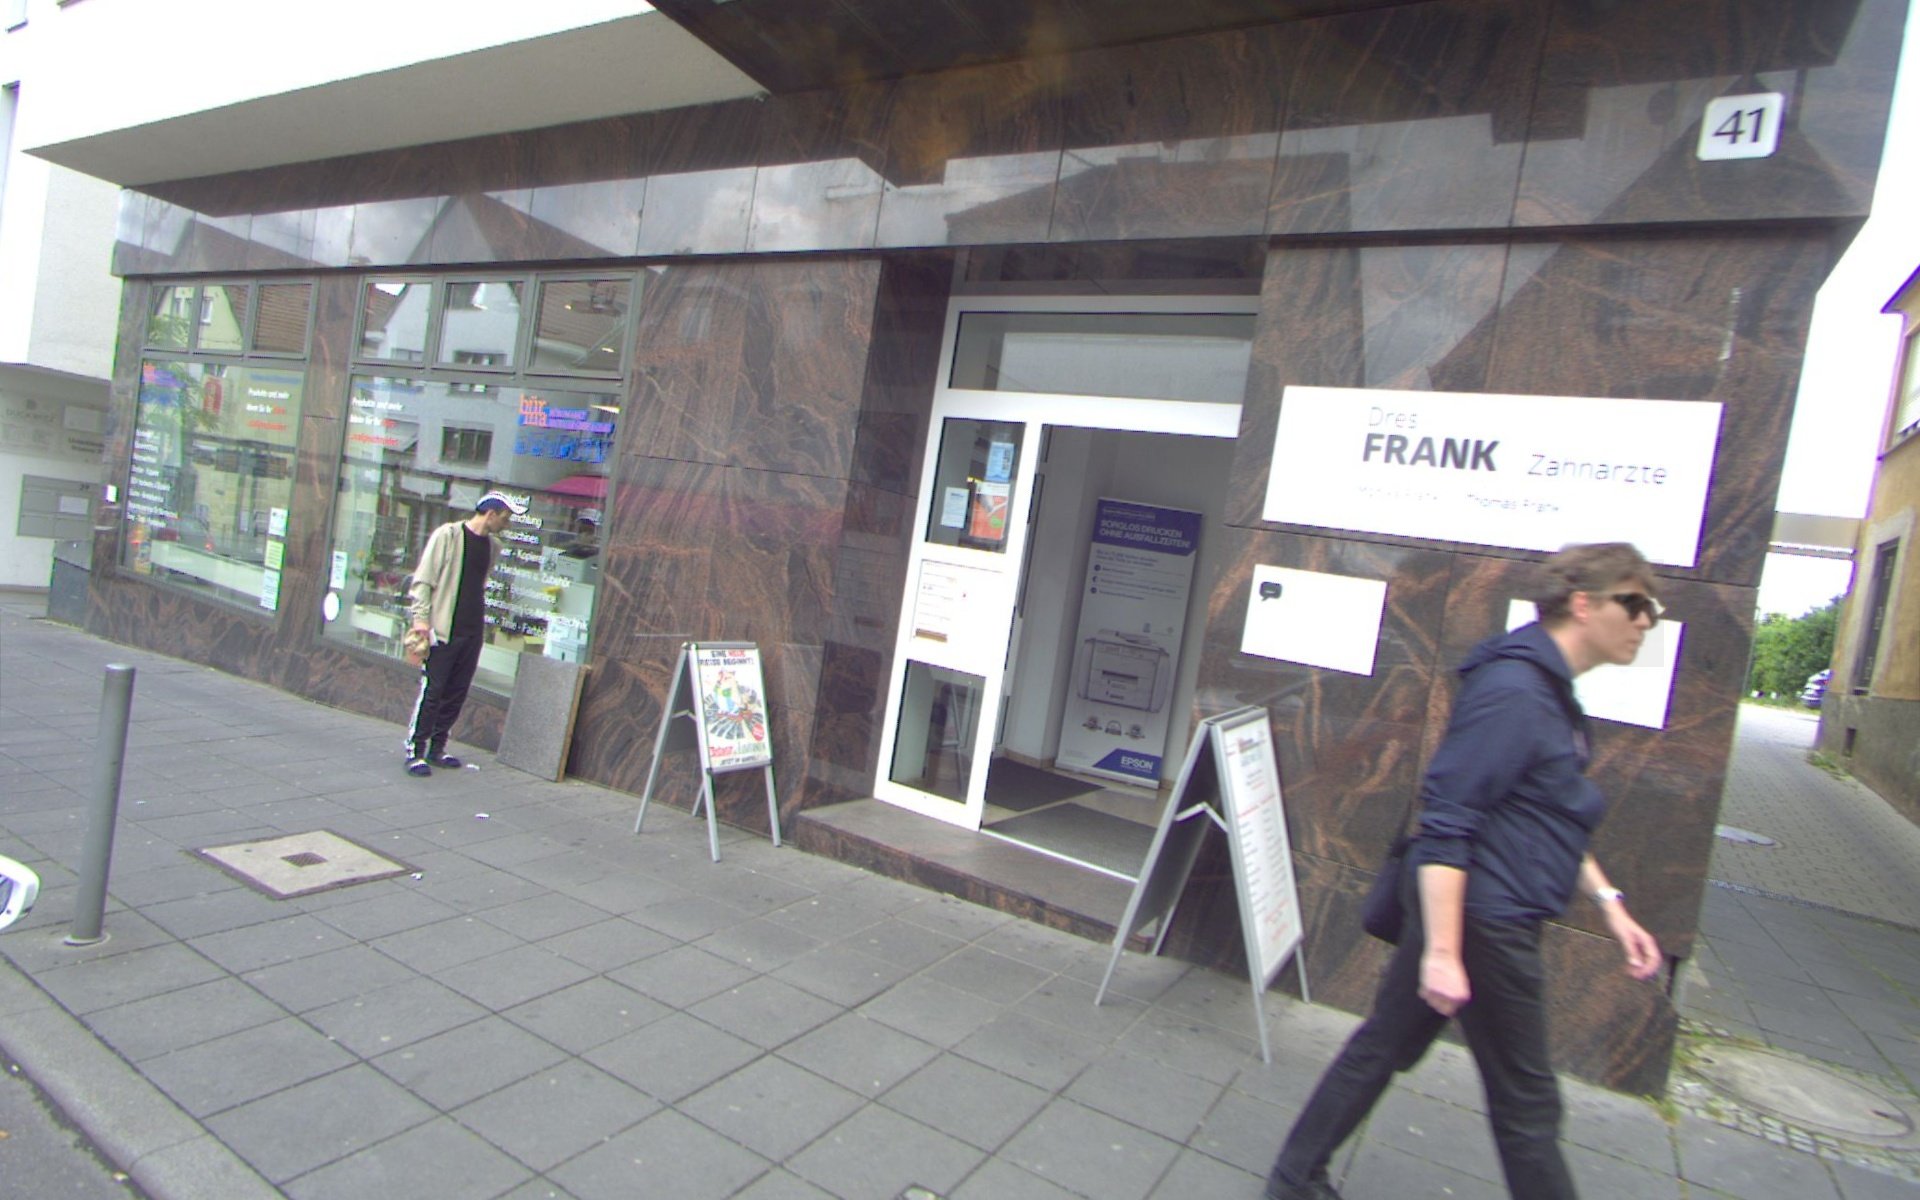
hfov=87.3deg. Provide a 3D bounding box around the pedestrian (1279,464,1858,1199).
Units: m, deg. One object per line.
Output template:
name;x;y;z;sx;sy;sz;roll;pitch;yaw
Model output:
pedestrian;1.257;0.655;2.216;0.774;1.777;0.711;7;3;31

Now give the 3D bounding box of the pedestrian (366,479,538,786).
pedestrian;-3.049;0.177;6.059;0.533;1.713;0.663;7;4;25
